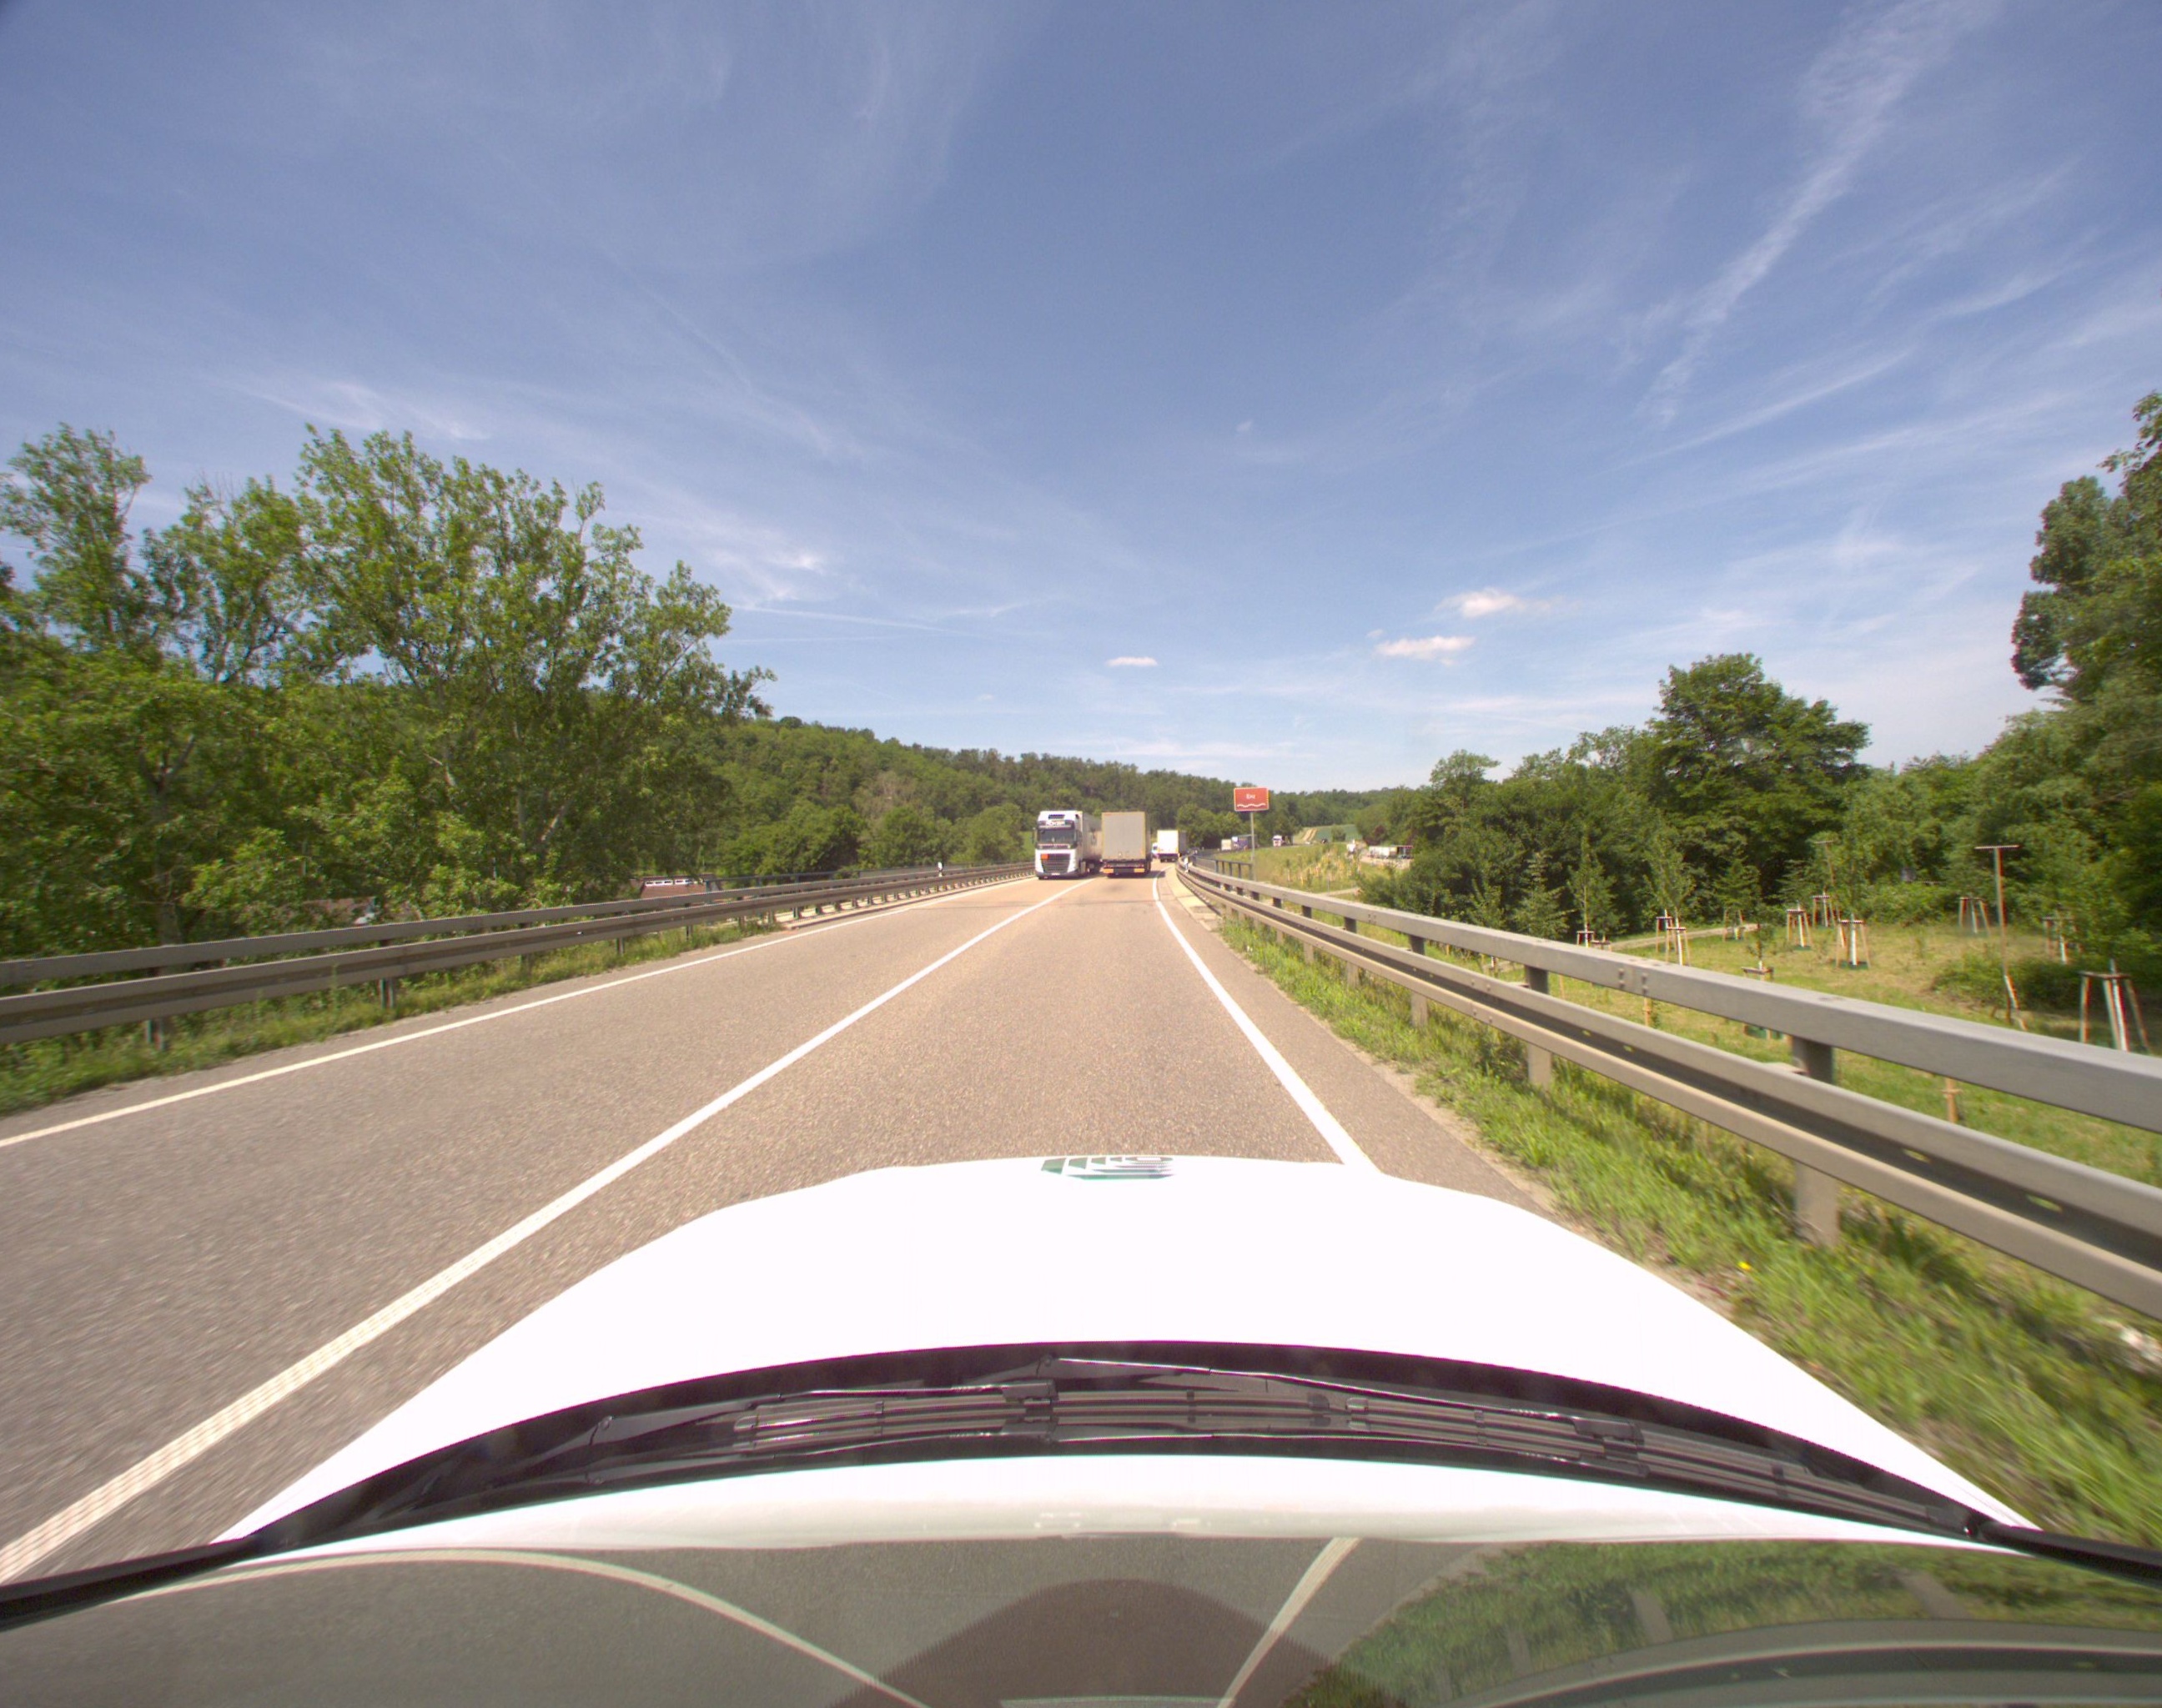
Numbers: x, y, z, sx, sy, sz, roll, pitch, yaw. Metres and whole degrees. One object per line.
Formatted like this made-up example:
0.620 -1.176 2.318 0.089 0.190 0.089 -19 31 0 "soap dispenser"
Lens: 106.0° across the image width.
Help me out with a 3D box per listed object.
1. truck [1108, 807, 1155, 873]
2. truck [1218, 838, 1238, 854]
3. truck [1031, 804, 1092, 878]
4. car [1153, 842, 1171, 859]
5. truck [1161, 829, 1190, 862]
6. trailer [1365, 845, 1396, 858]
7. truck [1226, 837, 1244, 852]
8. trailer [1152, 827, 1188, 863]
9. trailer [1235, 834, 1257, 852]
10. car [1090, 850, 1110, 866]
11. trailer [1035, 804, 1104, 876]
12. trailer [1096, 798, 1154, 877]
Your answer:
3.801 -0.990 59.866 3.103 4.494 6.822 -1 0 6 "truck"
33.582 -1.826 185.583 3.198 3.365 11.927 -1 0 17 "truck"
-1.079 -0.742 49.021 2.832 4.160 6.341 0 0 6 "truck"
12.869 -0.476 128.766 2.165 2.559 5.815 -1 -1 11 "car"
12.939 -1.158 111.299 3.343 4.317 6.762 -1 0 12 "truck"
82.080 -0.650 223.459 2.717 3.327 11.861 -1 1 -8 "trailer"
40.969 -2.482 216.339 2.890 3.803 9.758 -1 1 21 "truck"
11.616 -1.110 104.771 3.343 4.316 13.908 -1 0 11 "trailer"
41.853 -2.789 206.225 3.618 4.262 12.254 -1 0 19 "trailer"
1.913 0.344 79.344 1.653 1.457 3.900 -1 1 5 "car"
-0.458 -0.856 54.890 2.838 4.187 14.523 0 0 6 "trailer"
3.120 -0.965 53.321 3.103 4.499 13.909 -1 0 6 "trailer"
